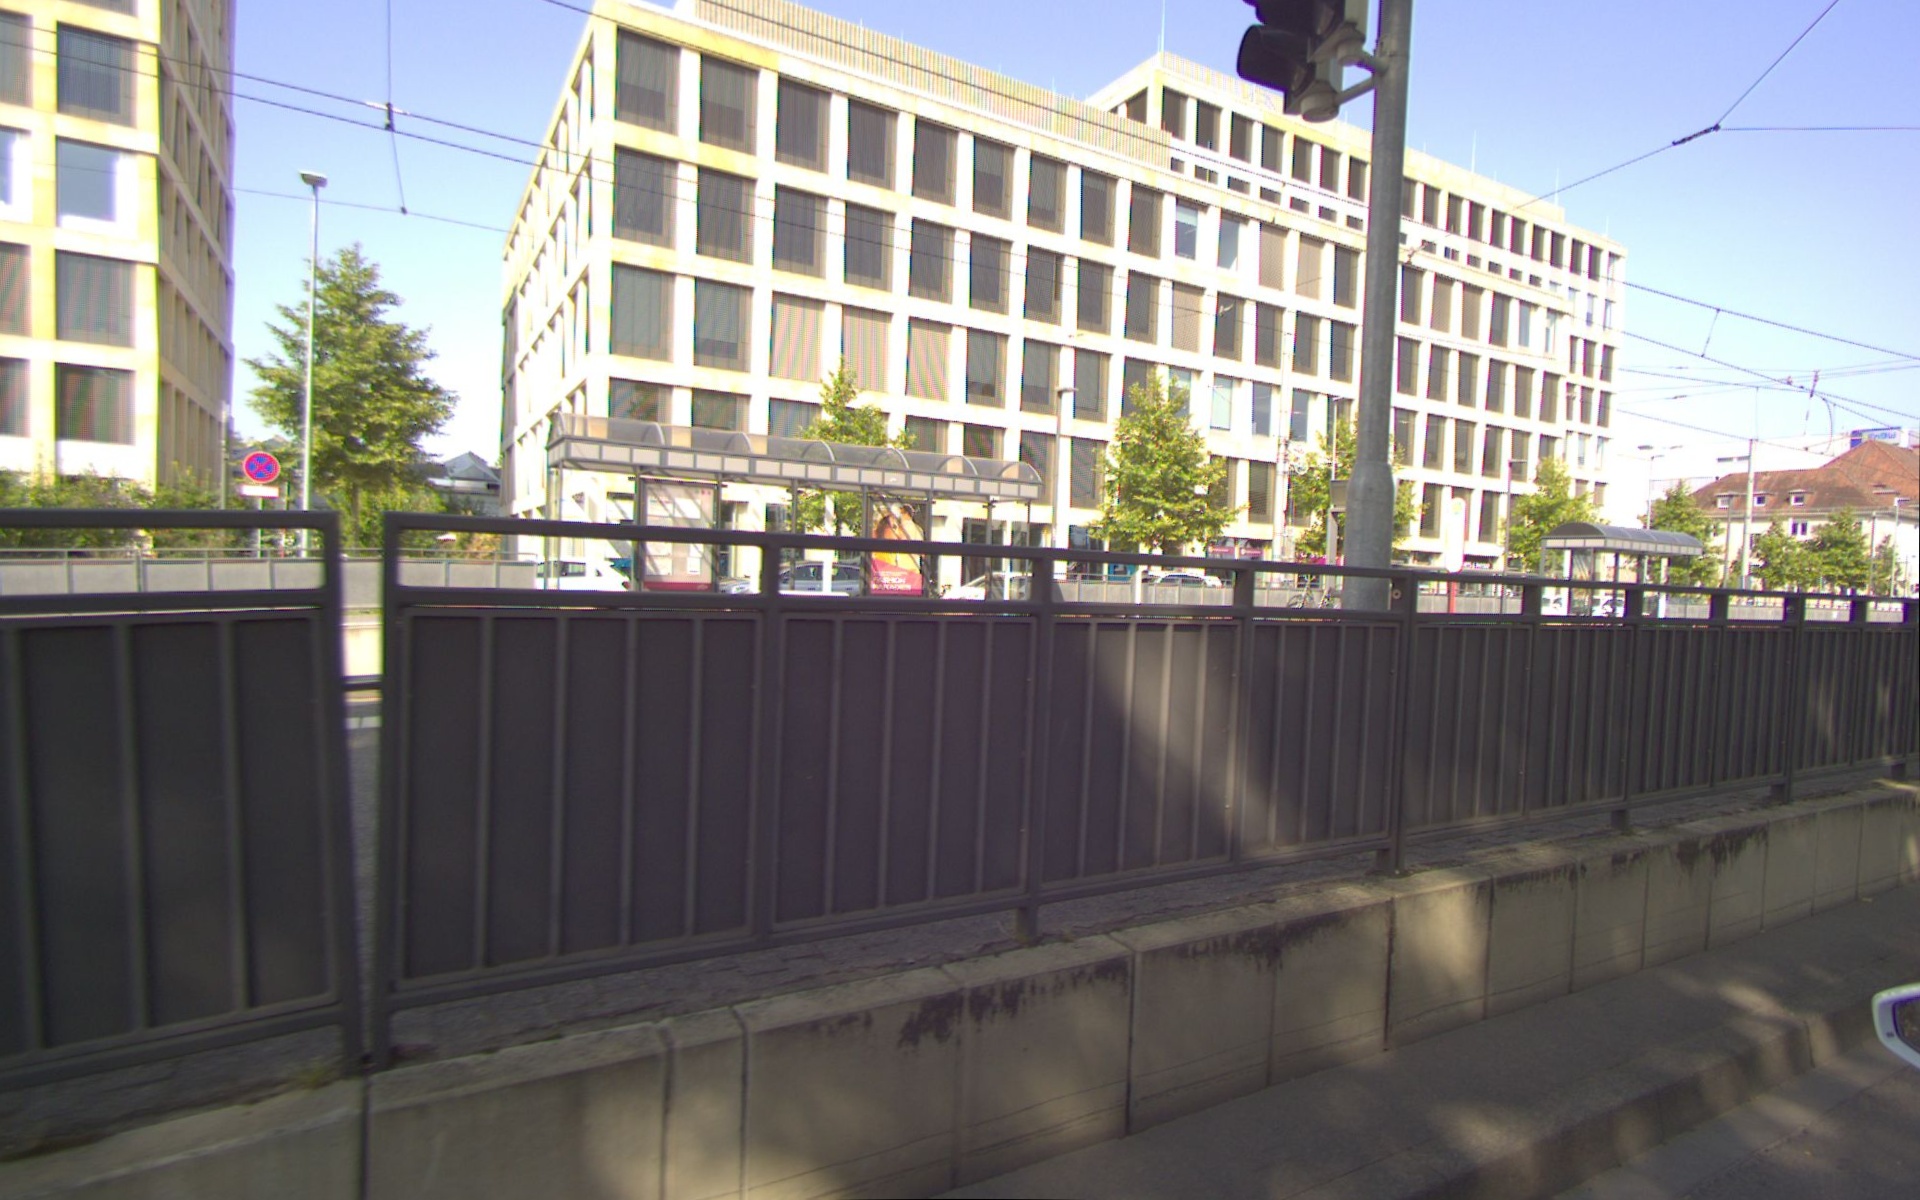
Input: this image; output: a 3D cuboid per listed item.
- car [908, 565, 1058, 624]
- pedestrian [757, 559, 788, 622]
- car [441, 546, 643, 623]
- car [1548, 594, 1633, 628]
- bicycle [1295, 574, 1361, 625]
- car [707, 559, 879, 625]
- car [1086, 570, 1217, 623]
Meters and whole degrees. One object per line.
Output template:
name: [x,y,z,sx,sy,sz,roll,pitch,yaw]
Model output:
car: [0.701,-0.147,29.468,4.086,1.595,1.754,1,0,-32]
pedestrian: [-6.251,-0.298,33.519,0.813,2.040,0.560,2,-2,-30]
car: [-9.612,-0.321,23.184,4.086,1.595,1.754,1,0,-32]
car: [28.847,0.510,45.949,3.963,1.465,1.701,1,0,-32]
bicycle: [8.917,-0.008,24.351,1.459,1.163,0.471,2,2,-16]
car: [-4.345,-0.177,26.293,4.086,1.595,1.754,1,0,-32]
car: [6.264,-0.095,32.712,4.086,1.624,1.754,1,0,-32]
